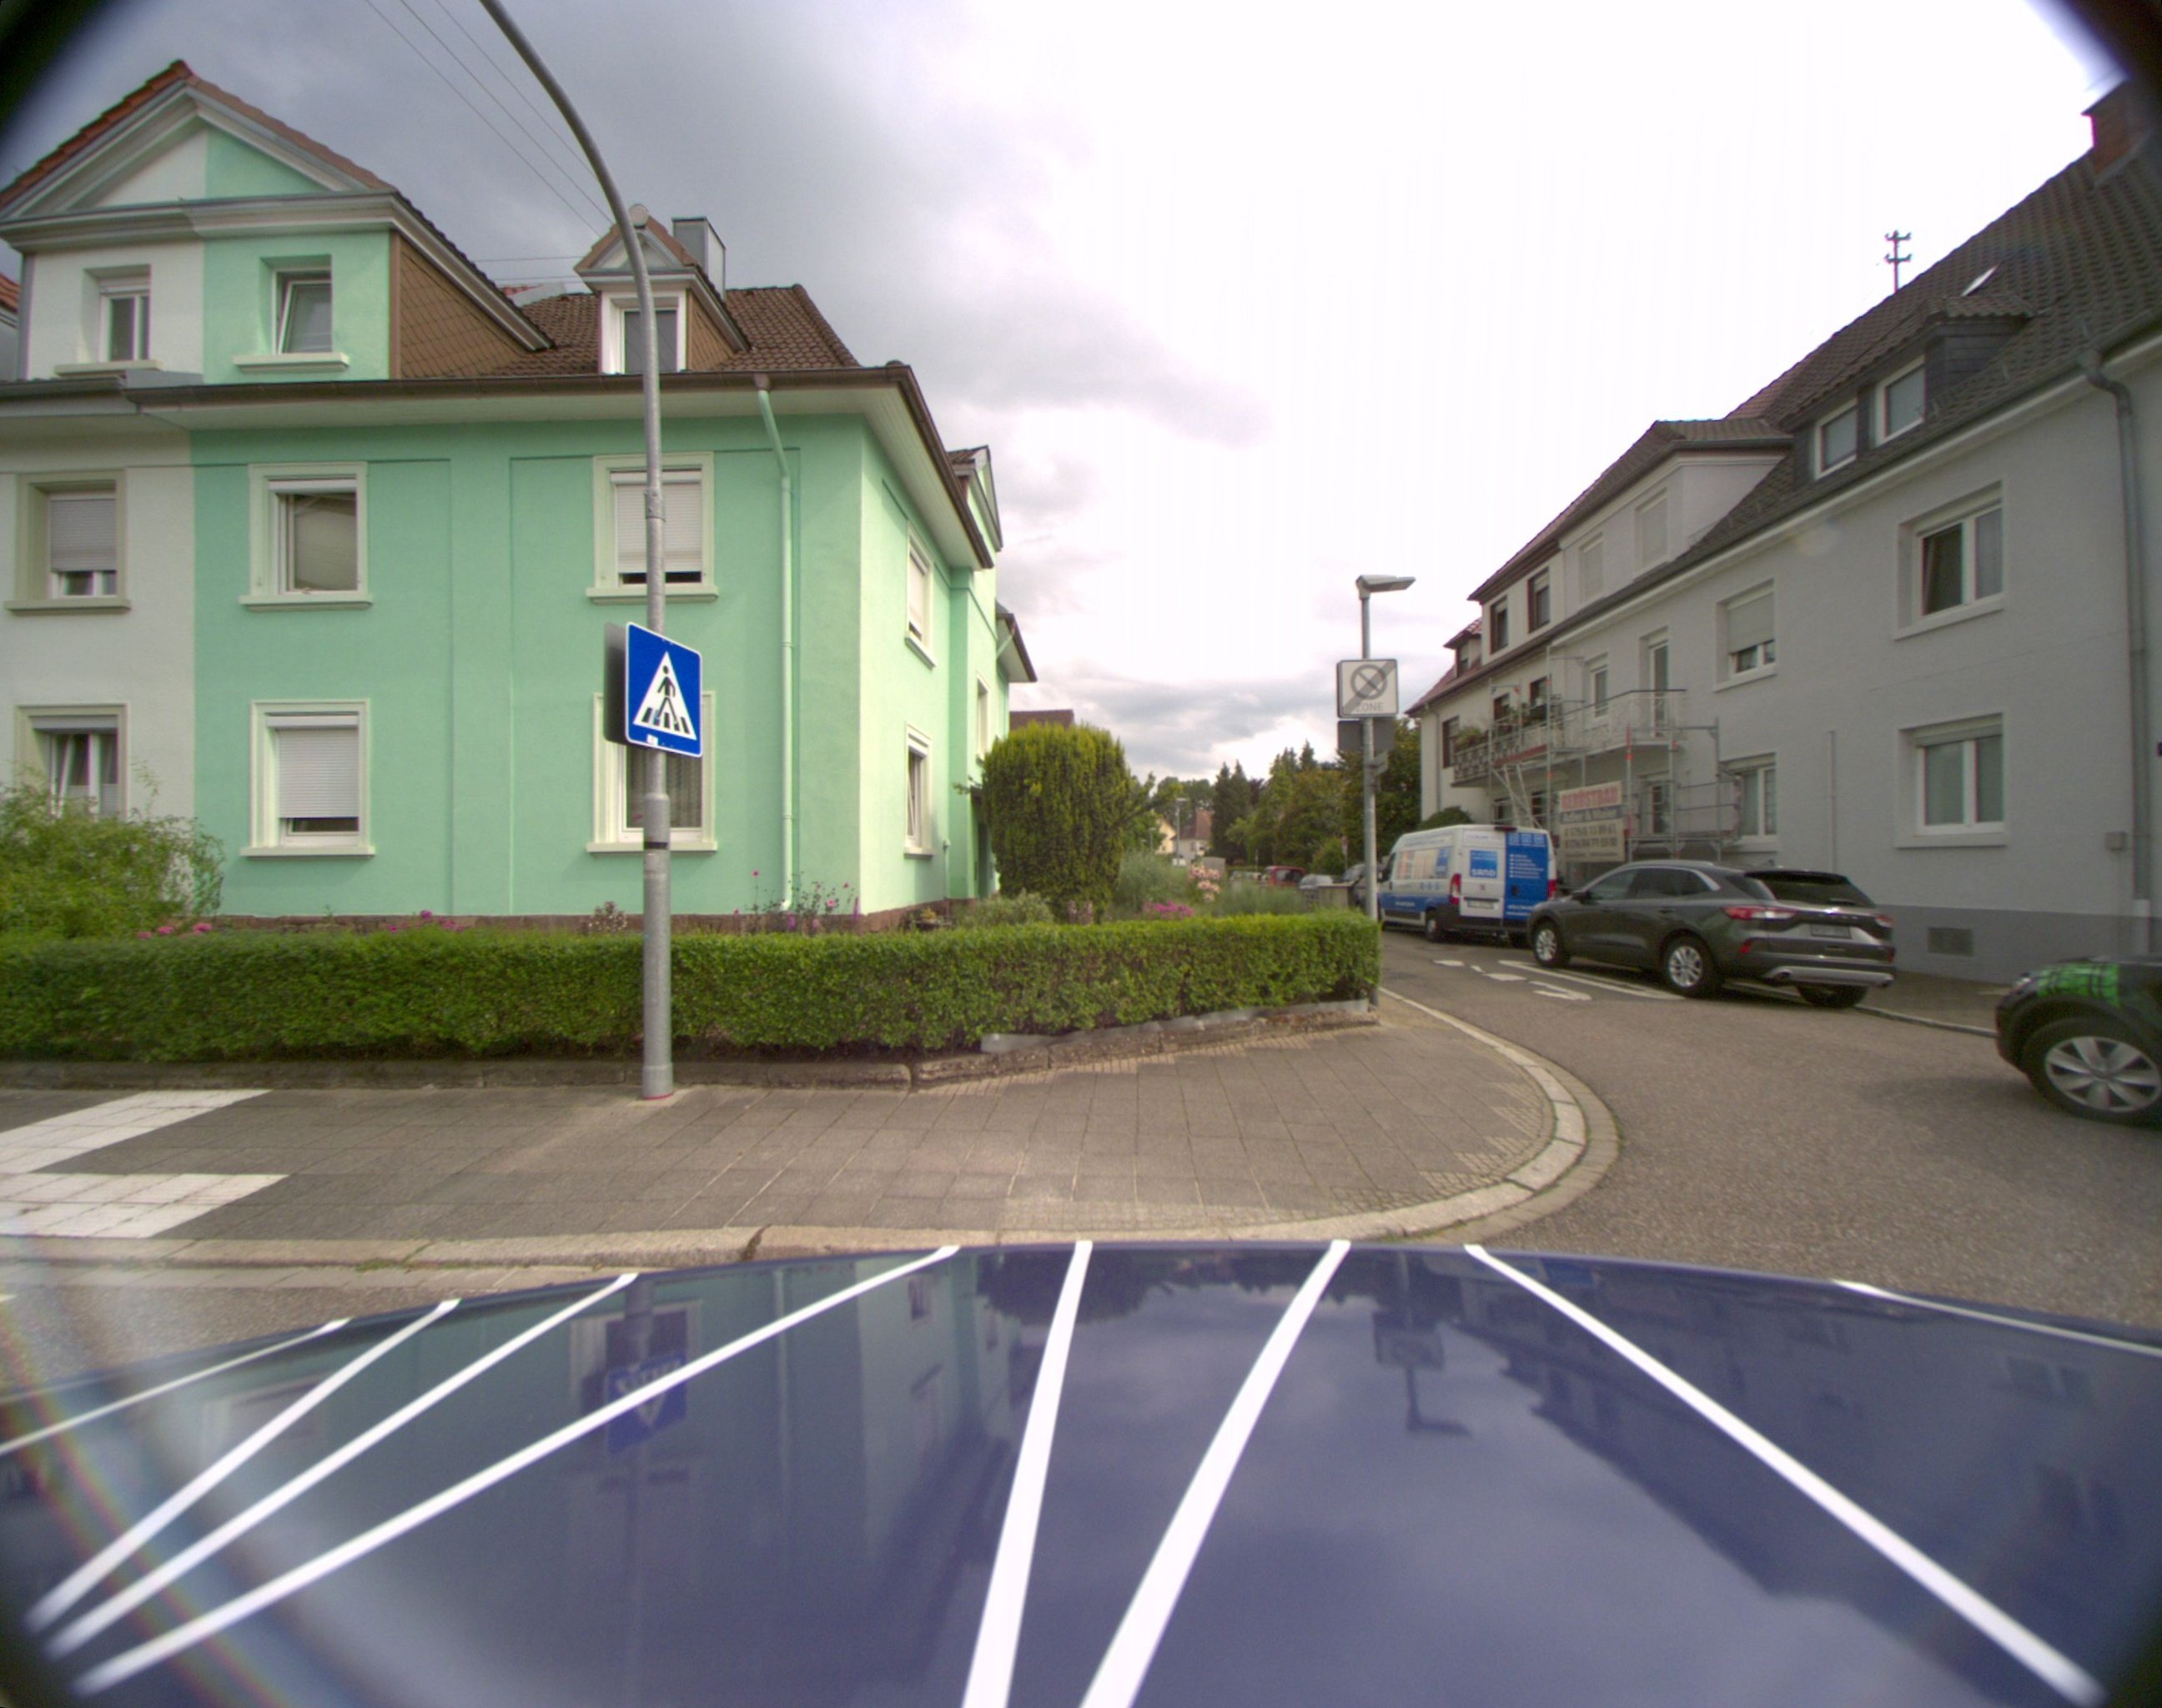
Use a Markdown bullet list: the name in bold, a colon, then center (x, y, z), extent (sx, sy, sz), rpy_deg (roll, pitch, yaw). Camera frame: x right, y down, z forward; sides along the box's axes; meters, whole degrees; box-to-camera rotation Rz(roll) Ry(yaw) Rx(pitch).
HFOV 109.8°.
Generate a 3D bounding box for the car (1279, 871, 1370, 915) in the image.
- **car**: center (8.924, 1.388, 28.200), extent (1.998, 1.447, 4.342), rpy_deg (0, 0, 0)

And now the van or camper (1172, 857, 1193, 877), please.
- **van or camper**: center (12.822, 1.633, 96.298), extent (2.146, 2.526, 5.016), rpy_deg (0, 0, 3)

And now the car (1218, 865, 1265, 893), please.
- **car**: center (9.884, 1.498, 47.002), extent (1.998, 1.582, 4.342), rpy_deg (0, 0, 0)

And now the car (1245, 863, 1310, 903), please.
- **car**: center (9.237, 1.313, 36.106), extent (1.998, 1.739, 4.342), rpy_deg (0, 0, 0)

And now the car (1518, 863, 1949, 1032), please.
- **car**: center (8.015, 0.998, 10.053), extent (1.998, 1.716, 4.342), rpy_deg (0, 0, 0)

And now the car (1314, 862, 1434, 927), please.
- **car**: center (8.739, 1.131, 23.141), extent (1.998, 1.761, 4.342), rpy_deg (0, 0, 0)

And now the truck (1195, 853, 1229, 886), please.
- **truck**: center (10.959, 1.251, 63.770), extent (2.135, 2.641, 4.585), rpy_deg (0, 0, 1)

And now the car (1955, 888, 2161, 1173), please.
- **car**: center (6.591, 0.938, 3.050), extent (1.819, 1.510, 4.046), rpy_deg (0, -1, 7)

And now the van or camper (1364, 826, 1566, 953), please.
- **van or camper**: center (8.370, 0.706, 17.243), extent (2.197, 2.444, 5.055), rpy_deg (0, 0, 2)

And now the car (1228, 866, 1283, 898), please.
- **car**: center (9.393, 1.467, 41.168), extent (1.998, 1.582, 4.342), rpy_deg (0, 0, 0)
